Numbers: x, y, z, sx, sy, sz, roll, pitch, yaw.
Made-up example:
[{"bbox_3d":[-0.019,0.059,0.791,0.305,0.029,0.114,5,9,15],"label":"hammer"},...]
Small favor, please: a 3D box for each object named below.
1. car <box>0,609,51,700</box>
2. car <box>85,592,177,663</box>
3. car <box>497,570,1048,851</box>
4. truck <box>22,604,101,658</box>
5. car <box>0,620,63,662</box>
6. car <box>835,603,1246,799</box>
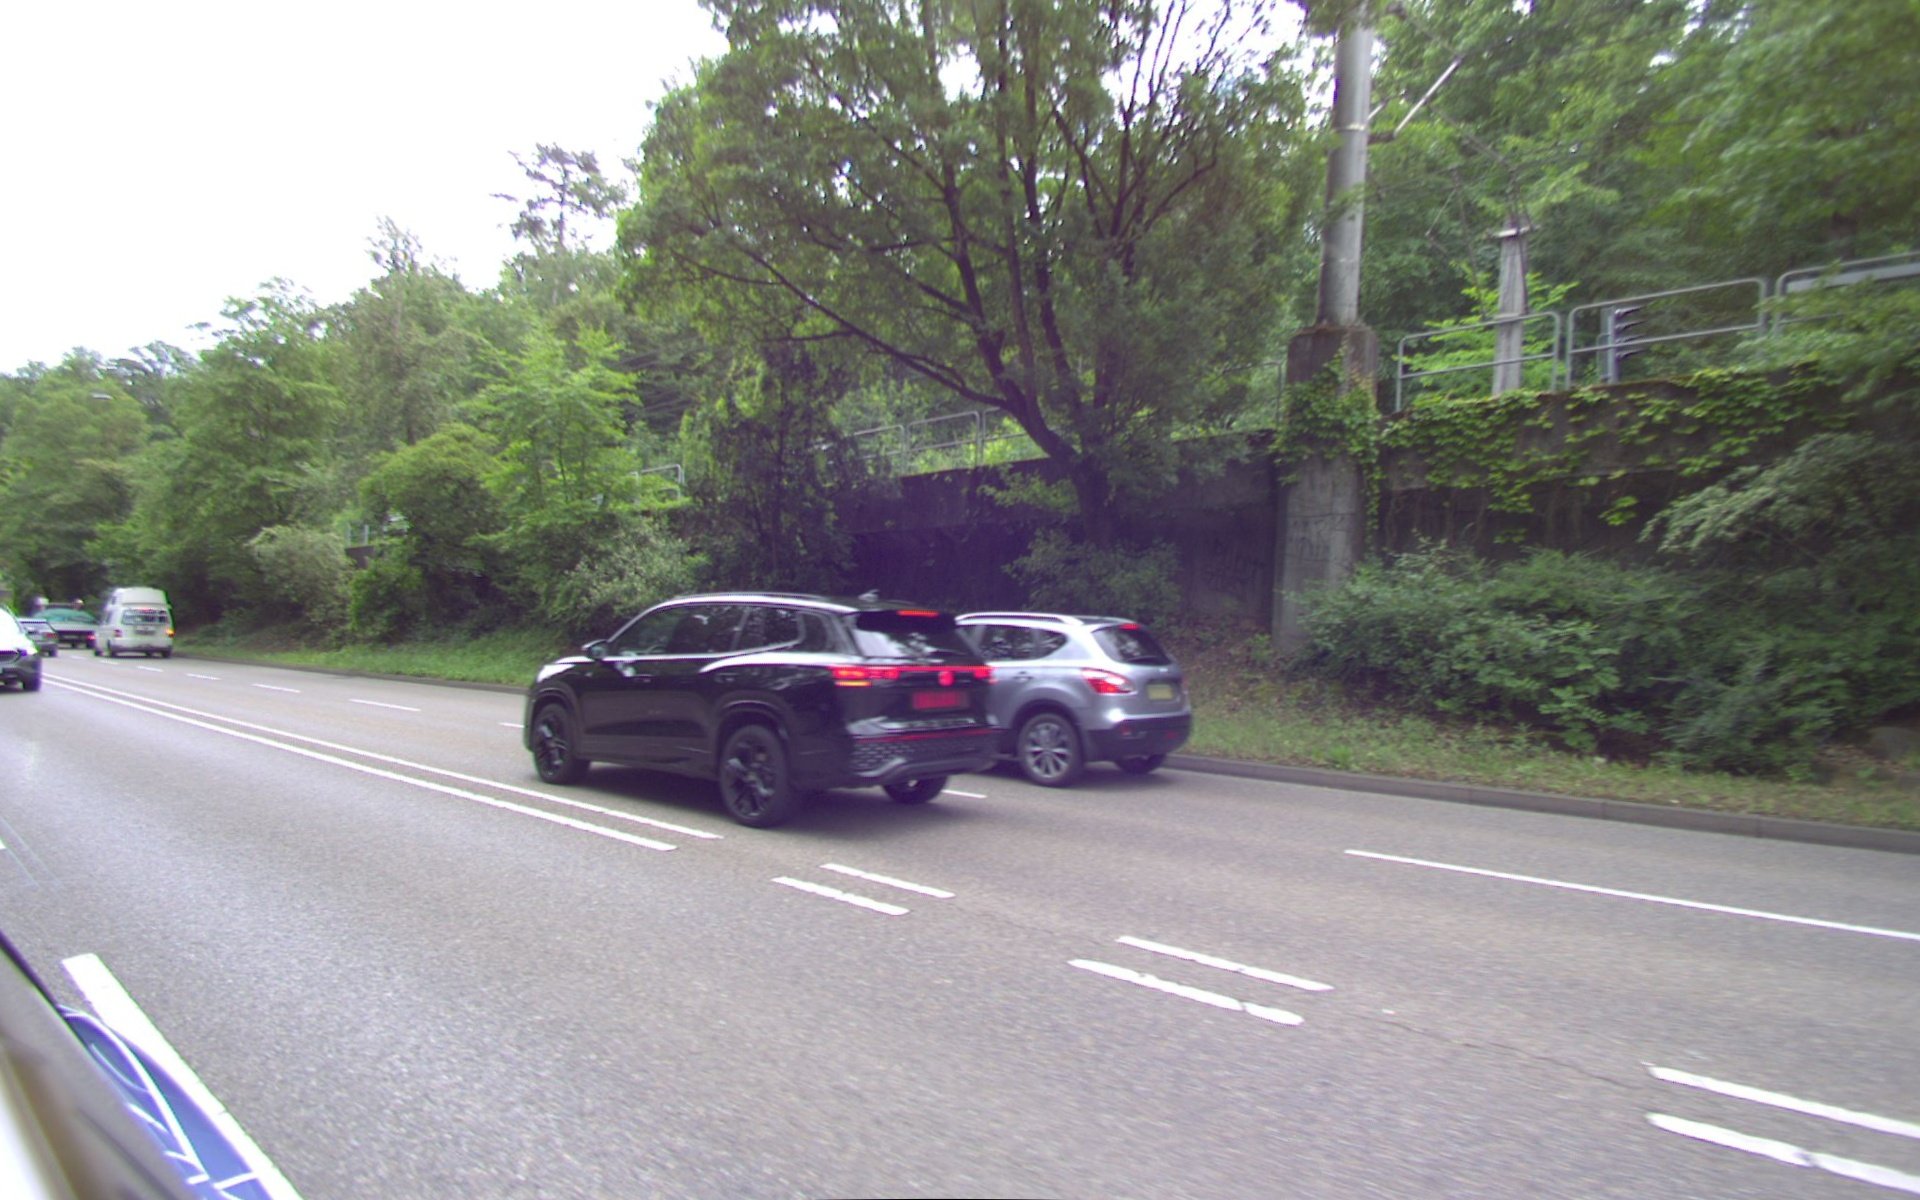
[{"bbox_3d":[-19.420,1.002,19.794,4.190,1.675,1.847,0,-3,41],"label":"car"},{"bbox_3d":[-31.928,1.052,38.918,4.913,2.575,1.867,0,-4,42],"label":"car"},{"bbox_3d":[-1.766,0.771,8.324,4.826,1.675,1.791,-2,-4,40],"label":"car"},{"bbox_3d":[-44.431,1.510,49.978,6.465,2.429,2.153,0,-4,43],"label":"truck"},{"bbox_3d":[-35.316,1.497,38.039,4.464,1.476,1.820,0,-1,41],"label":"car"},{"bbox_3d":[0.658,0.904,10.593,1.769,1.624,4.194,4,-3,-42],"label":"car"}]
